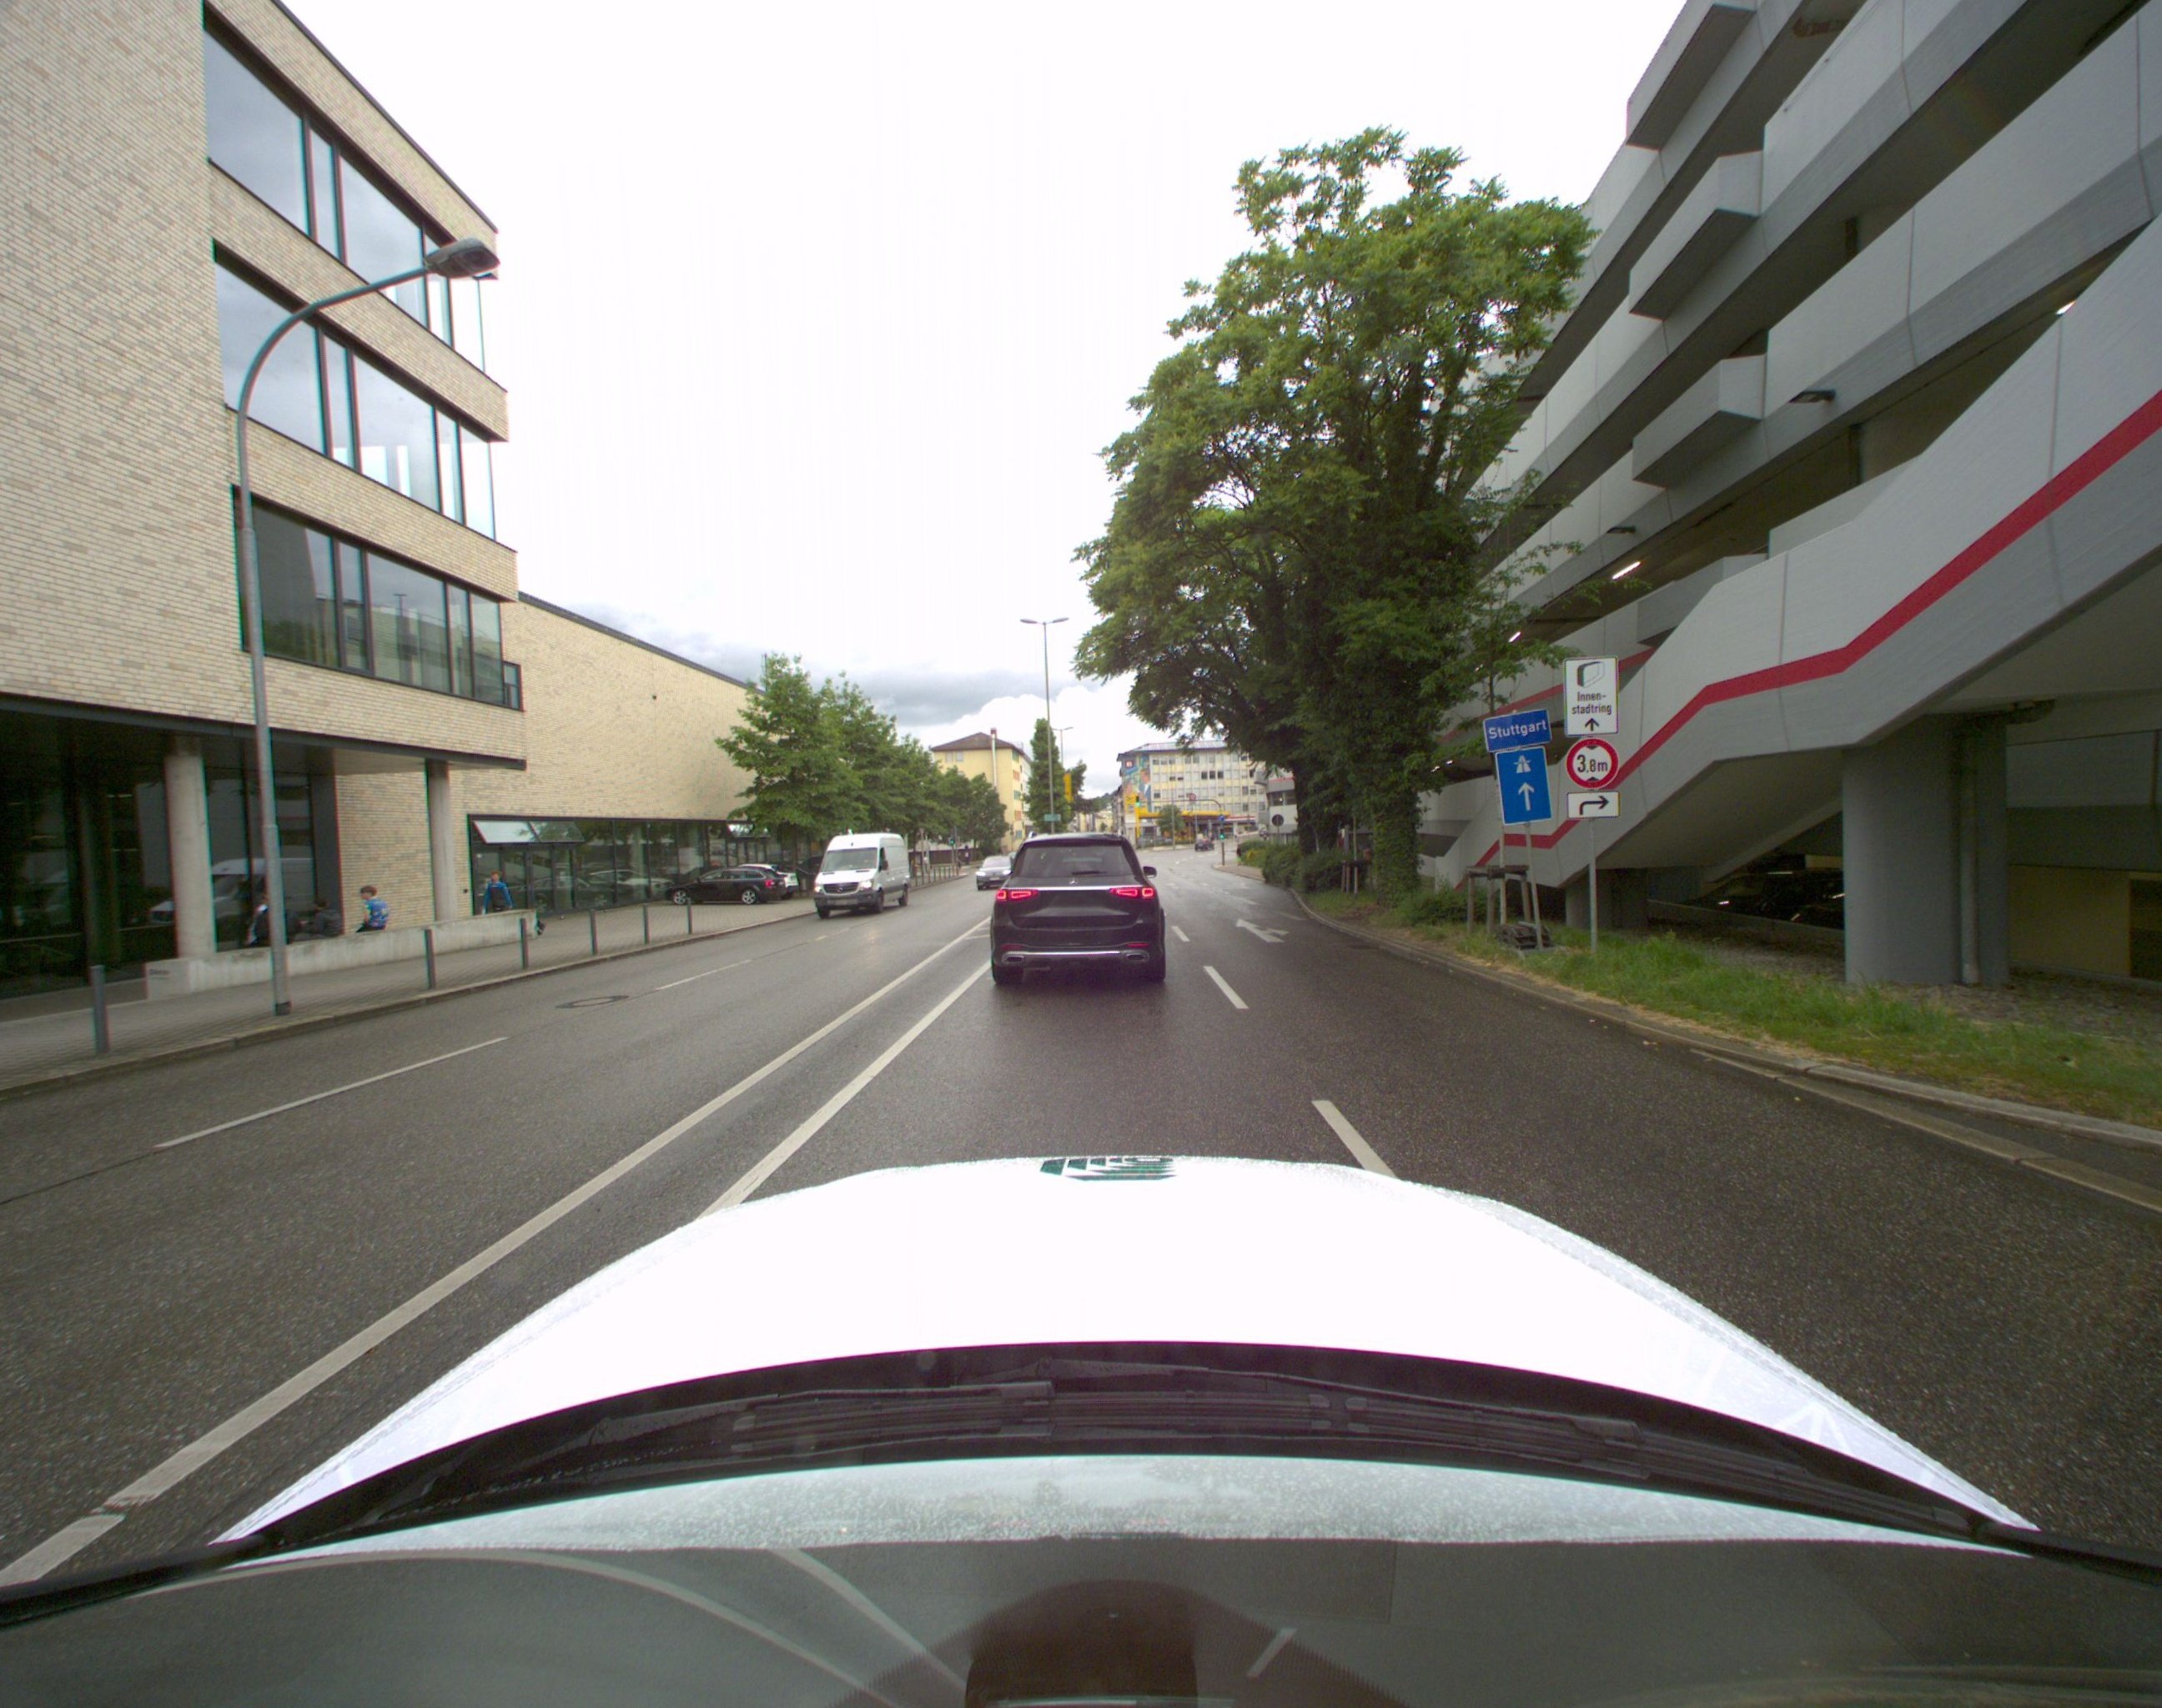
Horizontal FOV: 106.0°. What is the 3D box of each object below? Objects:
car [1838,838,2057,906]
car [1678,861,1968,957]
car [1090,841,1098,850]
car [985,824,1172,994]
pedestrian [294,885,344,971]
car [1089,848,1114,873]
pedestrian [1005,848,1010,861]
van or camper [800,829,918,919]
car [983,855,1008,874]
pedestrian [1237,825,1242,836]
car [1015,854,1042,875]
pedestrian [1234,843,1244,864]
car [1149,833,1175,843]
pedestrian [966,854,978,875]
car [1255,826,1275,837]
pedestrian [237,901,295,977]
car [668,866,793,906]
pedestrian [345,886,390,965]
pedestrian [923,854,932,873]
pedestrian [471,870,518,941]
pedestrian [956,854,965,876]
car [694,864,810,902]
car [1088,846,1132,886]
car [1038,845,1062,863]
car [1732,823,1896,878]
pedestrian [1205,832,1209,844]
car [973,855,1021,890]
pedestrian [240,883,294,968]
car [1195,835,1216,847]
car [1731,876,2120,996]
[{"bbox_3d":[24.791,0.500,23.473,3.958,1.783,1.823,-2,0,14],"label":"car"},{"bbox_3d":[13.899,1.001,15.476,3.713,1.540,1.815,-1,3,7],"label":"car"},{"bbox_3d":[3.242,-2.064,202.908,1.985,2.014,4.003,0,-1,3],"label":"car"},{"bbox_3d":[0.034,0.600,10.673,1.986,1.800,4.001,0,-1,2],"label":"car"},{"bbox_3d":[-13.534,1.306,14.477,0.448,1.475,0.463,0,-1,-4],"label":"pedestrian"},{"bbox_3d":[1.677,0.513,66.951,1.986,2.014,4.001,0,-1,1],"label":"car"},{"bbox_3d":[-10.342,0.060,114.251,0.647,1.727,0.628,-3,1,-2],"label":"pedestrian"},{"bbox_3d":[-7.292,0.613,27.527,2.094,2.582,5.910,-4,0,1],"label":"van or camper"},{"bbox_3d":[-7.232,0.885,69.215,1.792,1.495,3.802,0,-1,-1],"label":"car"},{"bbox_3d":[26.553,-3.922,136.454,0.521,1.727,0.693,-2,1,28],"label":"pedestrian"},{"bbox_3d":[-4.117,0.816,64.581,1.806,1.462,4.286,-4,0,-1],"label":"car"},{"bbox_3d":[12.641,-0.029,65.212,0.639,1.710,0.474,-2,-1,38],"label":"pedestrian"},{"bbox_3d":[12.769,-2.517,128.507,1.747,1.376,3.952,-4,1,-42],"label":"car"},{"bbox_3d":[-9.261,0.883,69.284,0.948,1.704,0.709,0,-1,-16],"label":"pedestrian"},{"bbox_3d":[31.197,-3.818,138.001,1.974,1.705,4.026,-2,1,35],"label":"car"},{"bbox_3d":[-13.517,1.408,13.515,0.546,1.215,0.422,0,-1,4],"label":"pedestrian"},{"bbox_3d":[-14.031,1.255,32.814,4.169,1.495,1.997,0,-1,-5],"label":"car"},{"bbox_3d":[-13.695,1.363,15.638,0.448,1.475,0.463,0,-1,-4],"label":"pedestrian"},{"bbox_3d":[-13.844,0.842,73.590,0.688,1.656,0.612,-3,1,-6],"label":"pedestrian"},{"bbox_3d":[-14.609,1.269,20.304,0.632,1.714,0.705,0,-1,4],"label":"pedestrian"},{"bbox_3d":[-10.096,0.907,68.040,0.687,1.757,0.716,-2,1,-9],"label":"pedestrian"},{"bbox_3d":[-14.128,1.229,35.121,4.158,1.547,2.002,0,-1,3],"label":"car"},{"bbox_3d":[1.382,0.559,39.353,1.986,1.800,4.001,0,-1,2],"label":"car"},{"bbox_3d":[-3.257,-0.009,86.772,1.882,1.811,4.581,-4,0,5],"label":"car"},{"bbox_3d":[26.208,-0.122,29.257,3.958,1.783,1.823,-2,0,14],"label":"car"},{"bbox_3d":[18.591,-2.326,120.100,0.570,1.697,0.631,0,-1,3],"label":"pedestrian"},{"bbox_3d":[-4.089,0.876,40.387,1.877,1.498,4.560,-4,0,-1],"label":"car"},{"bbox_3d":[-14.597,1.268,14.610,0.440,1.475,0.528,0,-1,-3],"label":"pedestrian"},{"bbox_3d":[15.382,-1.624,100.515,1.781,1.525,4.076,0,1,20],"label":"car"},{"bbox_3d":[12.936,1.235,12.738,3.966,1.624,1.842,-1,0,6],"label":"car"}]
